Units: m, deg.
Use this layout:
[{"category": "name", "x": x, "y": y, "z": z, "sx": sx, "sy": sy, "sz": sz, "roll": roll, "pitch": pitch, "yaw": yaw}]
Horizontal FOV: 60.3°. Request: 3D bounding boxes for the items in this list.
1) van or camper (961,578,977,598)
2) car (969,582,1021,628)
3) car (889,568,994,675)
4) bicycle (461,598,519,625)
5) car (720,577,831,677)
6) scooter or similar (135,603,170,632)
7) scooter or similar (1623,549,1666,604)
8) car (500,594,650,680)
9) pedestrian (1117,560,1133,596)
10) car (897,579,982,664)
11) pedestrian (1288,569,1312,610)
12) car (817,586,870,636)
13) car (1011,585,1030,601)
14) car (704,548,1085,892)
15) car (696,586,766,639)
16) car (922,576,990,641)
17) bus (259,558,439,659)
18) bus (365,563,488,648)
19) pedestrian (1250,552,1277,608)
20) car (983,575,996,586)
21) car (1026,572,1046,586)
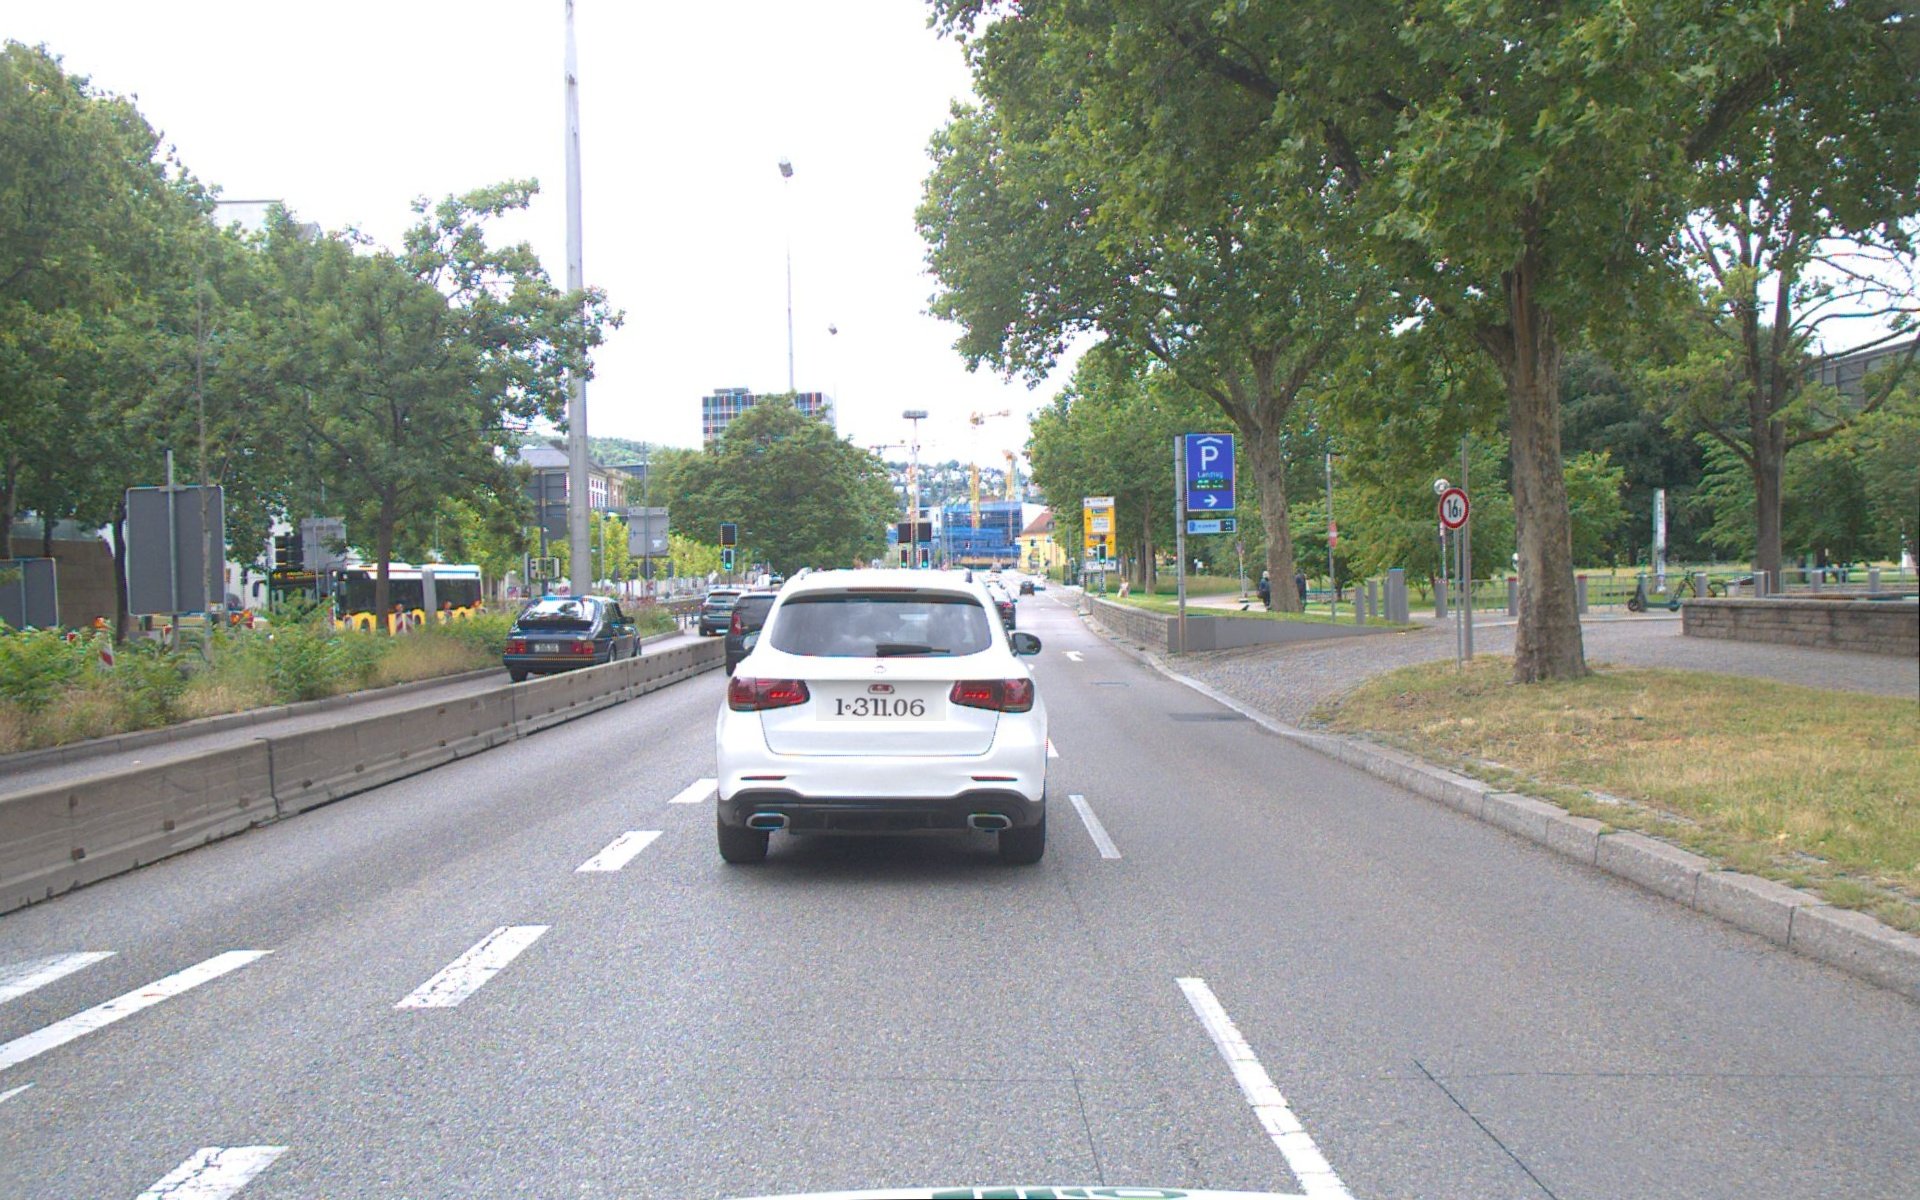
[{"category": "van or camper", "x": 1.074, "y": -1.411, "z": 203.696, "sx": 1.883, "sy": 2.360, "sz": 3.999, "roll": 0, "pitch": -1, "yaw": 0}, {"category": "car", "x": 1.260, "y": 0.151, "z": 60.819, "sx": 1.684, "sy": 1.612, "sz": 3.999, "roll": 1, "pitch": 0, "yaw": -1}, {"category": "car", "x": -0.320, "y": 0.348, "z": 27.811, "sx": 1.620, "sy": 1.638, "sz": 3.999, "roll": 1, "pitch": 0, "yaw": -1}, {"category": "bicycle", "x": -32.057, "y": 0.784, "z": 112.844, "sx": 3.540, "sy": 1.713, "sz": 1.183, "roll": -2, "pitch": 1, "yaw": -1}, {"category": "car", "x": -3.352, "y": 0.452, "z": 30.649, "sx": 1.684, "sy": 1.708, "sz": 3.999, "roll": 1, "pitch": 0, "yaw": -1}, {"category": "scooter or similar", "x": -39.465, "y": 0.850, "z": 80.849, "sx": 1.385, "sy": 1.364, "sz": 0.538, "roll": -1, "pitch": 0, "yaw": 0}, {"category": "scooter or similar", "x": 16.131, "y": -0.548, "z": 39.002, "sx": 0.701, "sy": 1.268, "sz": 0.728, "roll": 1, "pitch": 0, "yaw": -1}, {"category": "car", "x": -6.452, "y": 0.578, "z": 28.090, "sx": 1.684, "sy": 1.315, "sz": 3.999, "roll": 1, "pitch": 0, "yaw": -1}, {"category": "pedestrian", "x": 7.887, "y": -1.049, "z": 79.239, "sx": 0.683, "sy": 1.684, "sz": 0.684, "roll": 1, "pitch": -1, "yaw": 0}, {"category": "car", "x": -0.384, "y": 0.399, "z": 34.716, "sx": 1.638, "sy": 1.656, "sz": 4.001, "roll": 1, "pitch": 1, "yaw": 1}, {"category": "pedestrian", "x": 13.066, "y": -0.402, "z": 63.524, "sx": 0.770, "sy": 1.553, "sz": 0.683, "roll": 1, "pitch": -1, "yaw": 1}, {"category": "car", "x": -3.951, "y": 0.342, "z": 56.610, "sx": 1.685, "sy": 1.612, "sz": 3.998, "roll": 1, "pitch": 0, "yaw": -3}, {"category": "car", "x": 6.334, "y": -0.771, "z": 173.247, "sx": 1.684, "sy": 1.612, "sz": 3.999, "roll": 1, "pitch": 0, "yaw": -1}, {"category": "car", "x": -0.377, "y": 0.620, "z": 10.381, "sx": 1.901, "sy": 1.713, "sz": 3.999, "roll": 1, "pitch": 0, "yaw": -1}, {"category": "car", "x": -7.313, "y": 0.371, "z": 53.187, "sx": 1.717, "sy": 1.580, "sz": 3.999, "roll": 1, "pitch": 0, "yaw": -1}, {"category": "car", "x": -0.142, "y": 0.205, "z": 43.968, "sx": 1.684, "sy": 1.612, "sz": 3.999, "roll": 1, "pitch": 0, "yaw": -1}, {"category": "bus", "x": -22.517, "y": 0.249, "z": 61.713, "sx": 2.853, "sy": 3.362, "sz": 10.448, "roll": -1, "pitch": 0, "yaw": -1}, {"category": "bus", "x": -22.673, "y": 0.190, "z": 70.798, "sx": 2.864, "sy": 3.361, "sz": 7.704, "roll": -1, "pitch": 0, "yaw": -2}, {"category": "pedestrian", "x": 11.406, "y": -0.738, "z": 62.163, "sx": 0.838, "sy": 2.049, "sz": 0.815, "roll": 1, "pitch": -1, "yaw": -2}, {"category": "car", "x": 4.299, "y": -2.840, "z": 243.201, "sx": 1.684, "sy": 1.612, "sz": 3.999, "roll": 1, "pitch": 0, "yaw": -1}, {"category": "car", "x": 9.521, "y": -2.640, "z": 206.731, "sx": 1.954, "sy": 1.646, "sz": 3.996, "roll": 1, "pitch": 0, "yaw": -4}]
